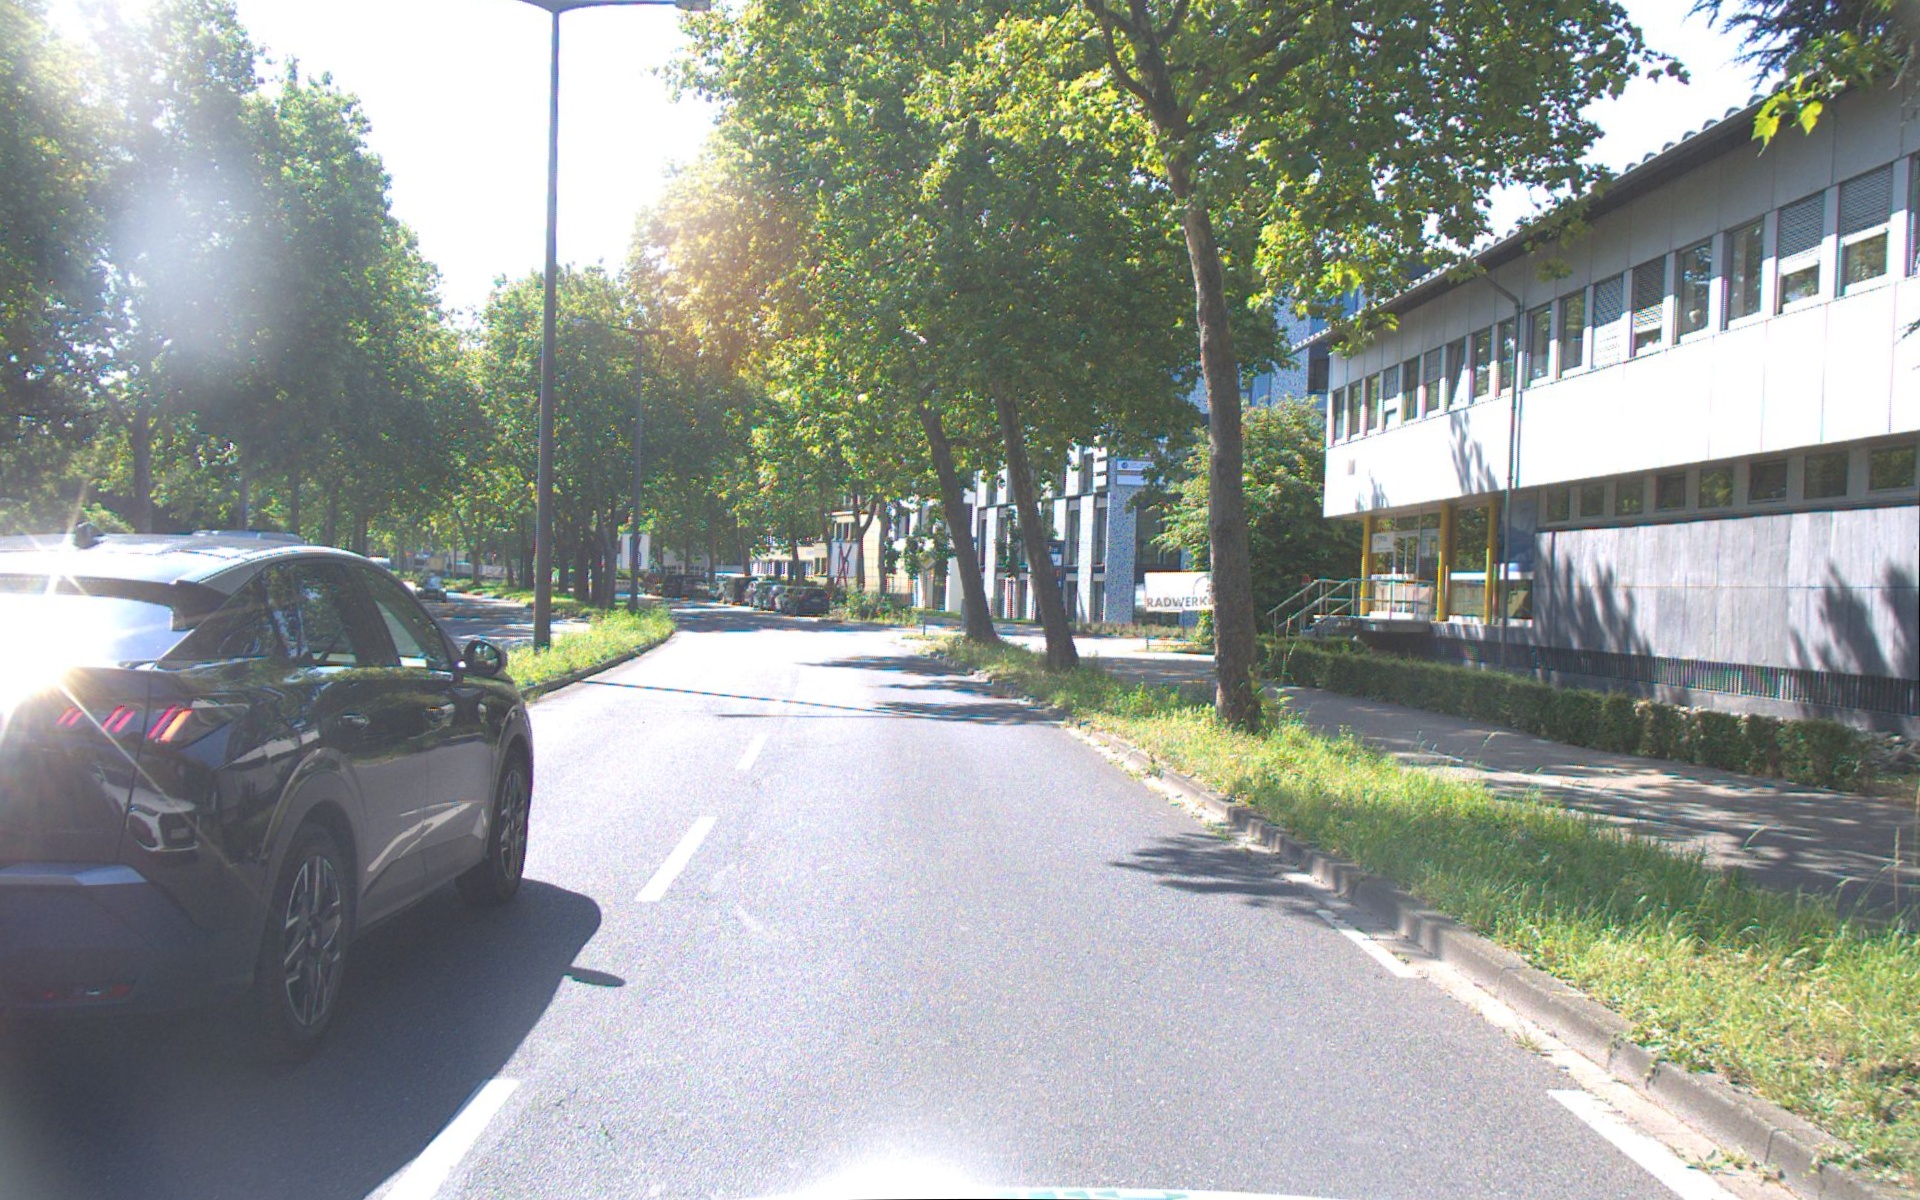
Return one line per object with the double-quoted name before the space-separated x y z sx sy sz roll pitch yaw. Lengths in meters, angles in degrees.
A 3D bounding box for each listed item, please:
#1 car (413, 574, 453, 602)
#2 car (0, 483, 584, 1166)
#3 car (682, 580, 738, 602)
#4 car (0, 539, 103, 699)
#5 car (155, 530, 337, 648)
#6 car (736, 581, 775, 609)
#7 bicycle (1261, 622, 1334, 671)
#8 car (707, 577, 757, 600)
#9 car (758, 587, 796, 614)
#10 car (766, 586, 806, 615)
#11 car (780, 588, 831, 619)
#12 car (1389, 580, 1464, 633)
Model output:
"car" -31.826 -0.730 99.923 1.762 1.583 4.384 1 0 -11
"car" -2.835 0.561 6.389 1.834 1.726 4.434 1 0 -2
"car" -19.882 -0.699 131.422 4.064 1.662 1.692 1 0 -34
"car" -12.072 0.208 19.412 1.652 1.871 4.991 1 1 -3
"car" -17.604 -0.264 41.250 2.020 2.659 7.209 1 0 -6
"car" -13.373 -0.342 108.113 1.680 1.698 4.510 2 1 -18
"bicycle" 8.036 1.107 39.413 1.635 1.150 0.509 1 0 5
"car" -17.600 -0.881 127.831 3.501 1.668 1.649 2 0 -21
"car" -10.668 0.020 96.211 1.677 1.480 4.640 2 1 -13
"car" -9.642 0.016 91.637 1.677 1.513 4.087 2 0 -13
"car" -8.028 0.156 85.746 1.680 1.513 4.696 1 1 -17
"car" 15.426 0.233 54.596 1.643 1.691 3.743 0 -1 27
